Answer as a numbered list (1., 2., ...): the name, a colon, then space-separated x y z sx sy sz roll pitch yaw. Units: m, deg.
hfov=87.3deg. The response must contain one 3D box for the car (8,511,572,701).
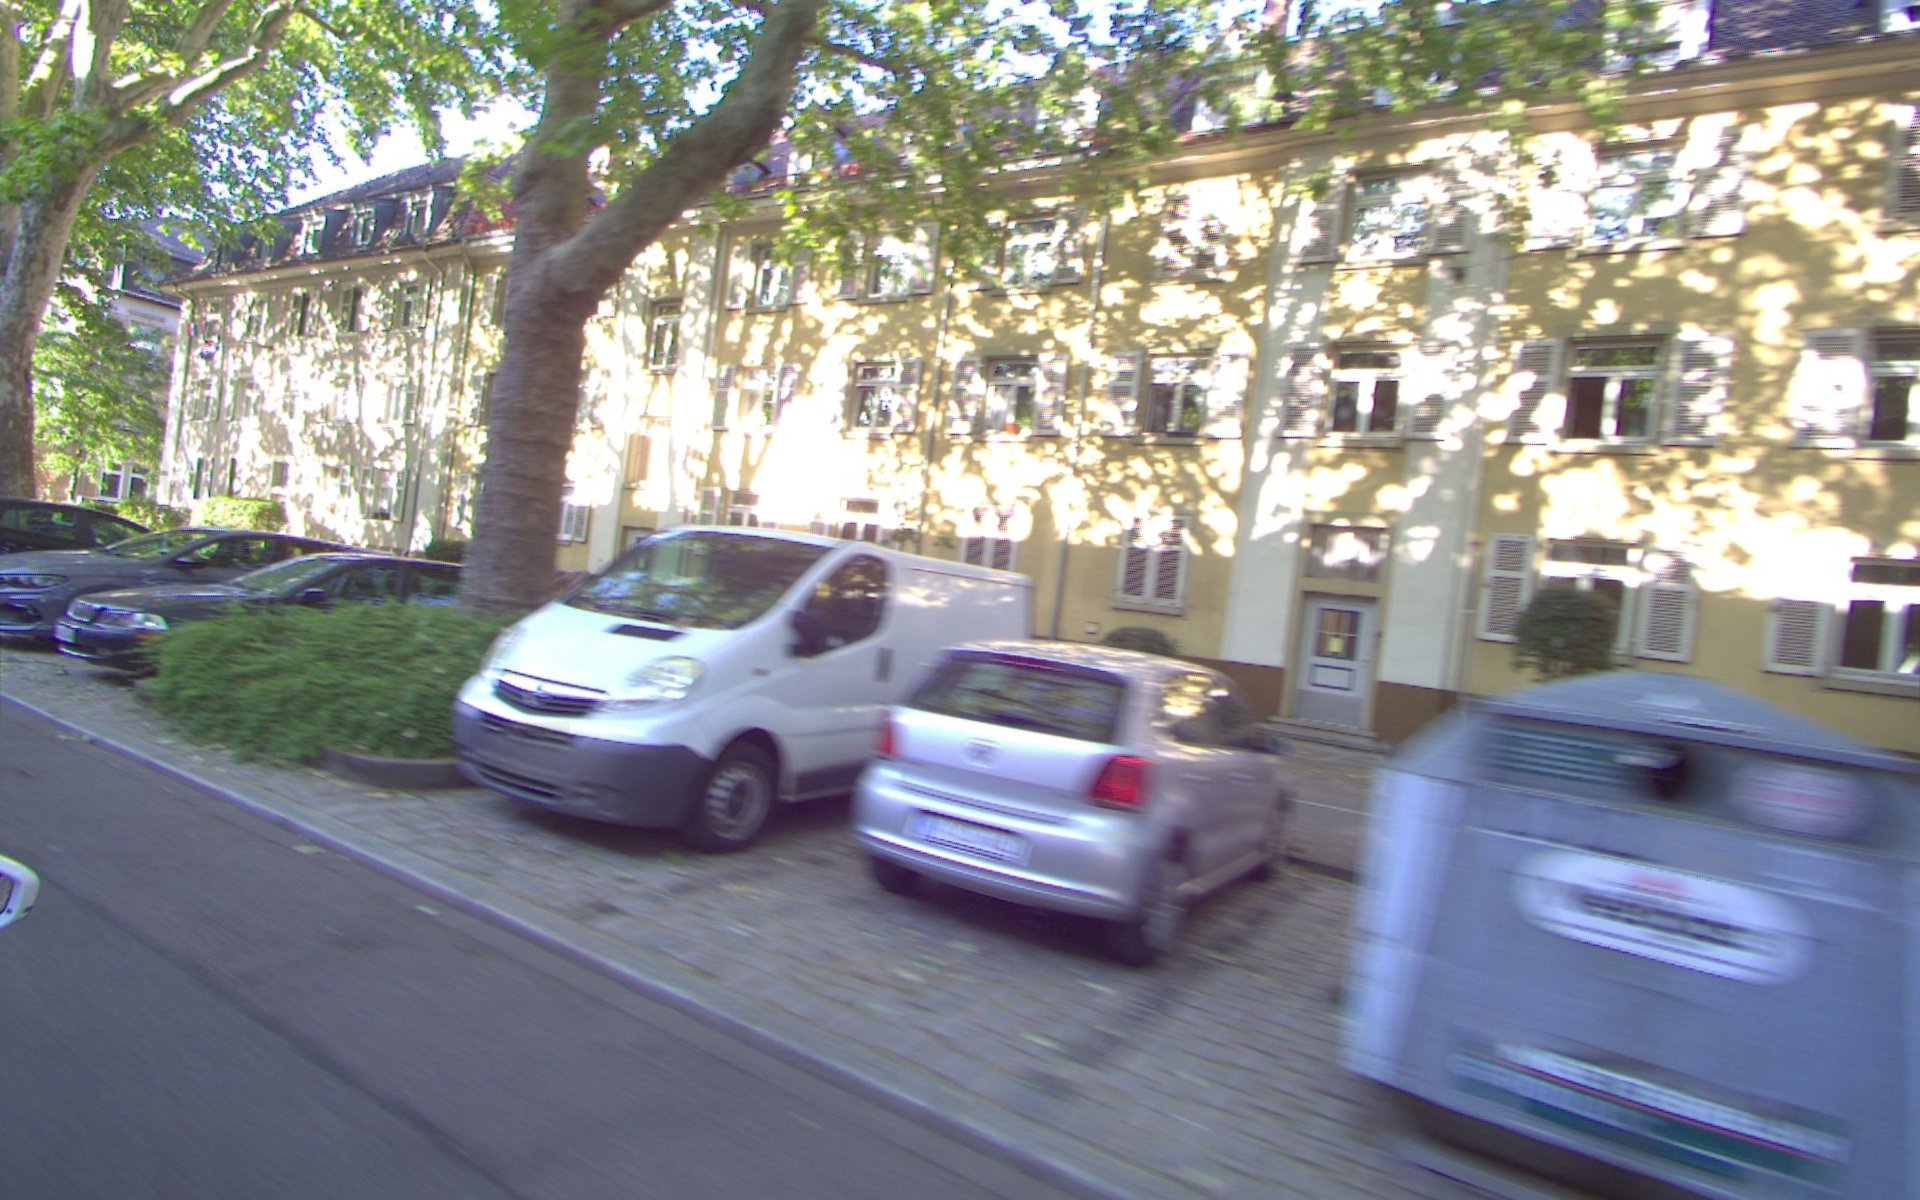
1. car: -6.515 0.184 10.318 1.776 1.396 4.400 6 -2 35

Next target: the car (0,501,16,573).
1. car: -21.478 -1.565 19.429 1.915 1.456 4.304 7 -1 30

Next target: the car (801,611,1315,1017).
1. car: 0.873 1.016 5.988 1.644 1.463 3.534 7 -1 29

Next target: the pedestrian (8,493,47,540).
1. pedestrian: -31.706 -2.833 34.197 0.807 1.472 0.662 7 0 32

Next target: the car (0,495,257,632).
1. car: -12.145 -0.538 13.637 1.682 1.527 3.845 7 -1 31

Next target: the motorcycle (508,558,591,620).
1. motorcycle: -10.058 -0.254 24.710 0.612 1.379 1.805 7 2 29

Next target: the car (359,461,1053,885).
1. car: -1.327 0.489 7.445 2.030 1.986 4.847 7 -1 29

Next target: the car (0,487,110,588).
1. car: -17.712 -1.271 17.157 1.996 1.622 4.496 7 0 35

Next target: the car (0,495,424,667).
1. car: -8.936 -0.158 11.752 1.866 1.501 4.254 7 -1 31
